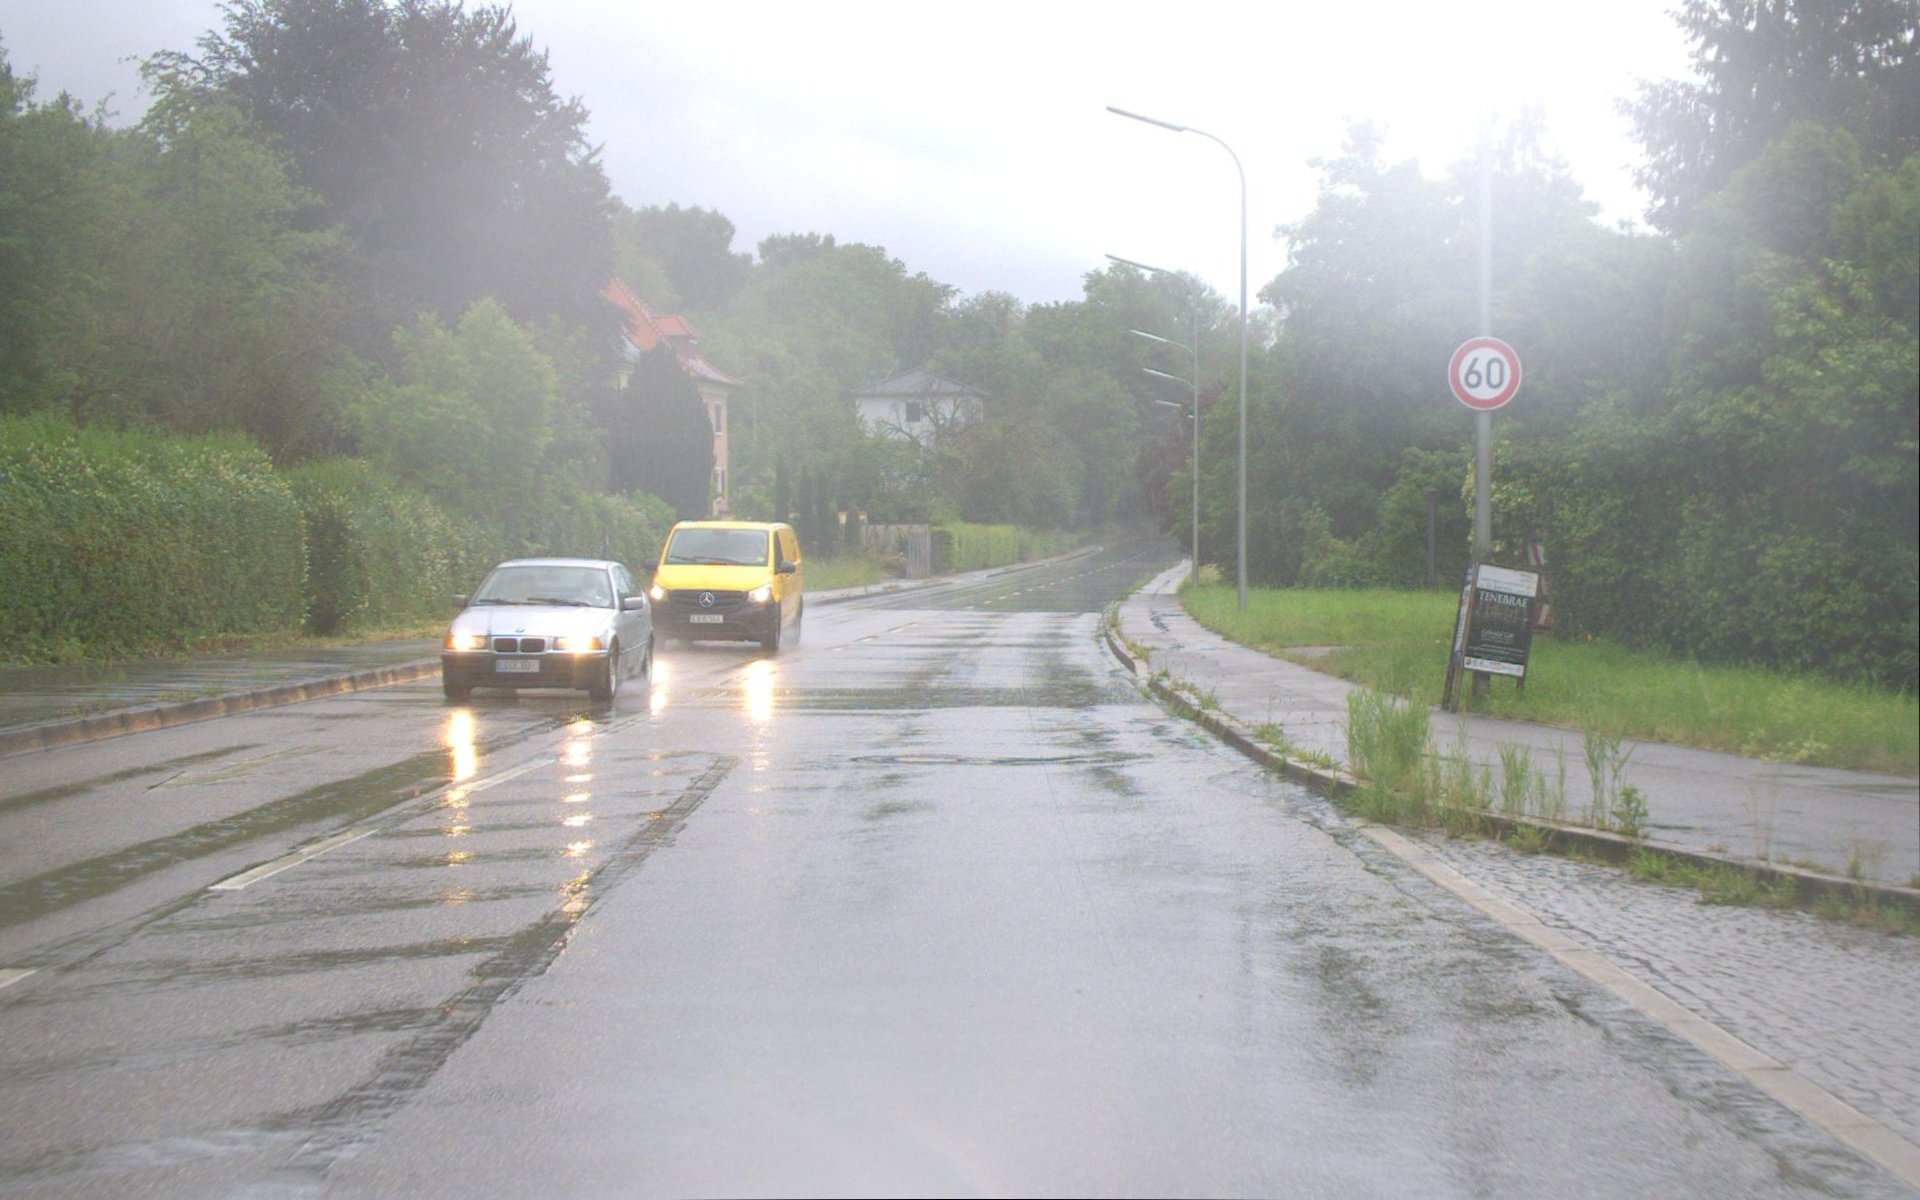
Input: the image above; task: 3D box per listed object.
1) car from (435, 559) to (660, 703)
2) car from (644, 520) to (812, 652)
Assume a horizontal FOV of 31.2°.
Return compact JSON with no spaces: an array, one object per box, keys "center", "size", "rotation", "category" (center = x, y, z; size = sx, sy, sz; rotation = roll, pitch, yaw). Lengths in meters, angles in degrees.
[{"center":[-4.043,0.266,34.228],"size":[1.701,1.345,3.905],"rotation":[0,1,1],"category":"car"},{"center":[-3.406,-0.227,51.334],"size":[1.937,1.865,5.036],"rotation":[0,1,3],"category":"car"}]
